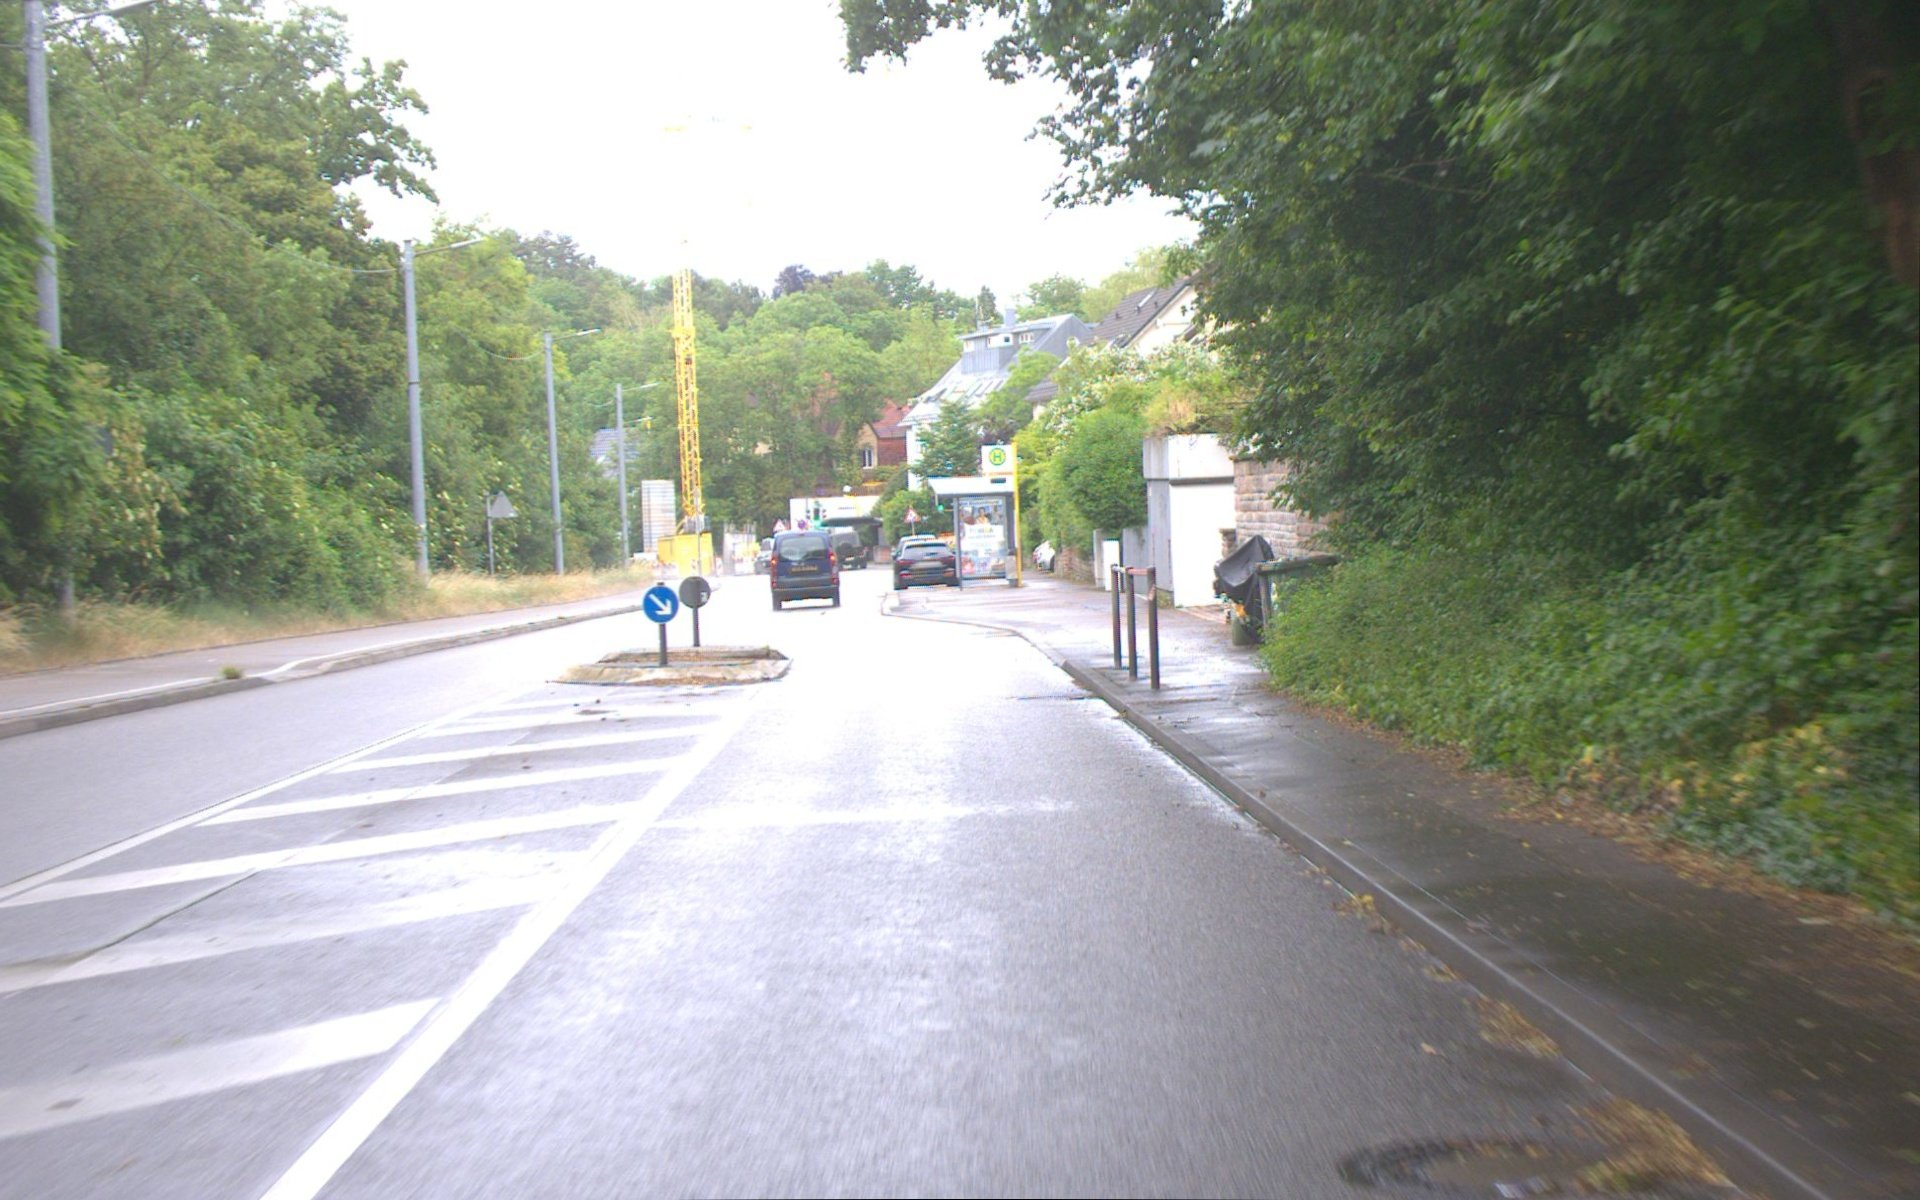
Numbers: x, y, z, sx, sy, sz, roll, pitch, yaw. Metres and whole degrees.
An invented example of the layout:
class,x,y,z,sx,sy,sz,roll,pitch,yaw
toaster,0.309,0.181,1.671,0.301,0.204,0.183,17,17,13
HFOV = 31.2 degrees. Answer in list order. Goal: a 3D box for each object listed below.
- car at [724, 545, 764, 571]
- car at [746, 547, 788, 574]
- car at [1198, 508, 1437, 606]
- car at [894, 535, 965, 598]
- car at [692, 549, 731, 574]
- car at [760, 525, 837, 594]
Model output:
class,x,y,z,sx,sy,sz,roll,pitch,yaw
car,-13.125,-2.542,208.820,1.739,1.547,3.857,0,0,-14
car,-11.461,-2.333,203.575,1.739,1.546,3.857,-1,1,-14
car,5.971,-0.719,57.666,3.769,1.547,1.609,-1,1,-2
car,-0.881,-0.973,98.449,1.993,1.766,4.115,0,1,0
car,-15.550,-2.404,215.193,1.739,1.546,3.857,-1,1,-14
car,-3.846,-0.971,82.313,1.667,1.588,3.683,-1,1,0
